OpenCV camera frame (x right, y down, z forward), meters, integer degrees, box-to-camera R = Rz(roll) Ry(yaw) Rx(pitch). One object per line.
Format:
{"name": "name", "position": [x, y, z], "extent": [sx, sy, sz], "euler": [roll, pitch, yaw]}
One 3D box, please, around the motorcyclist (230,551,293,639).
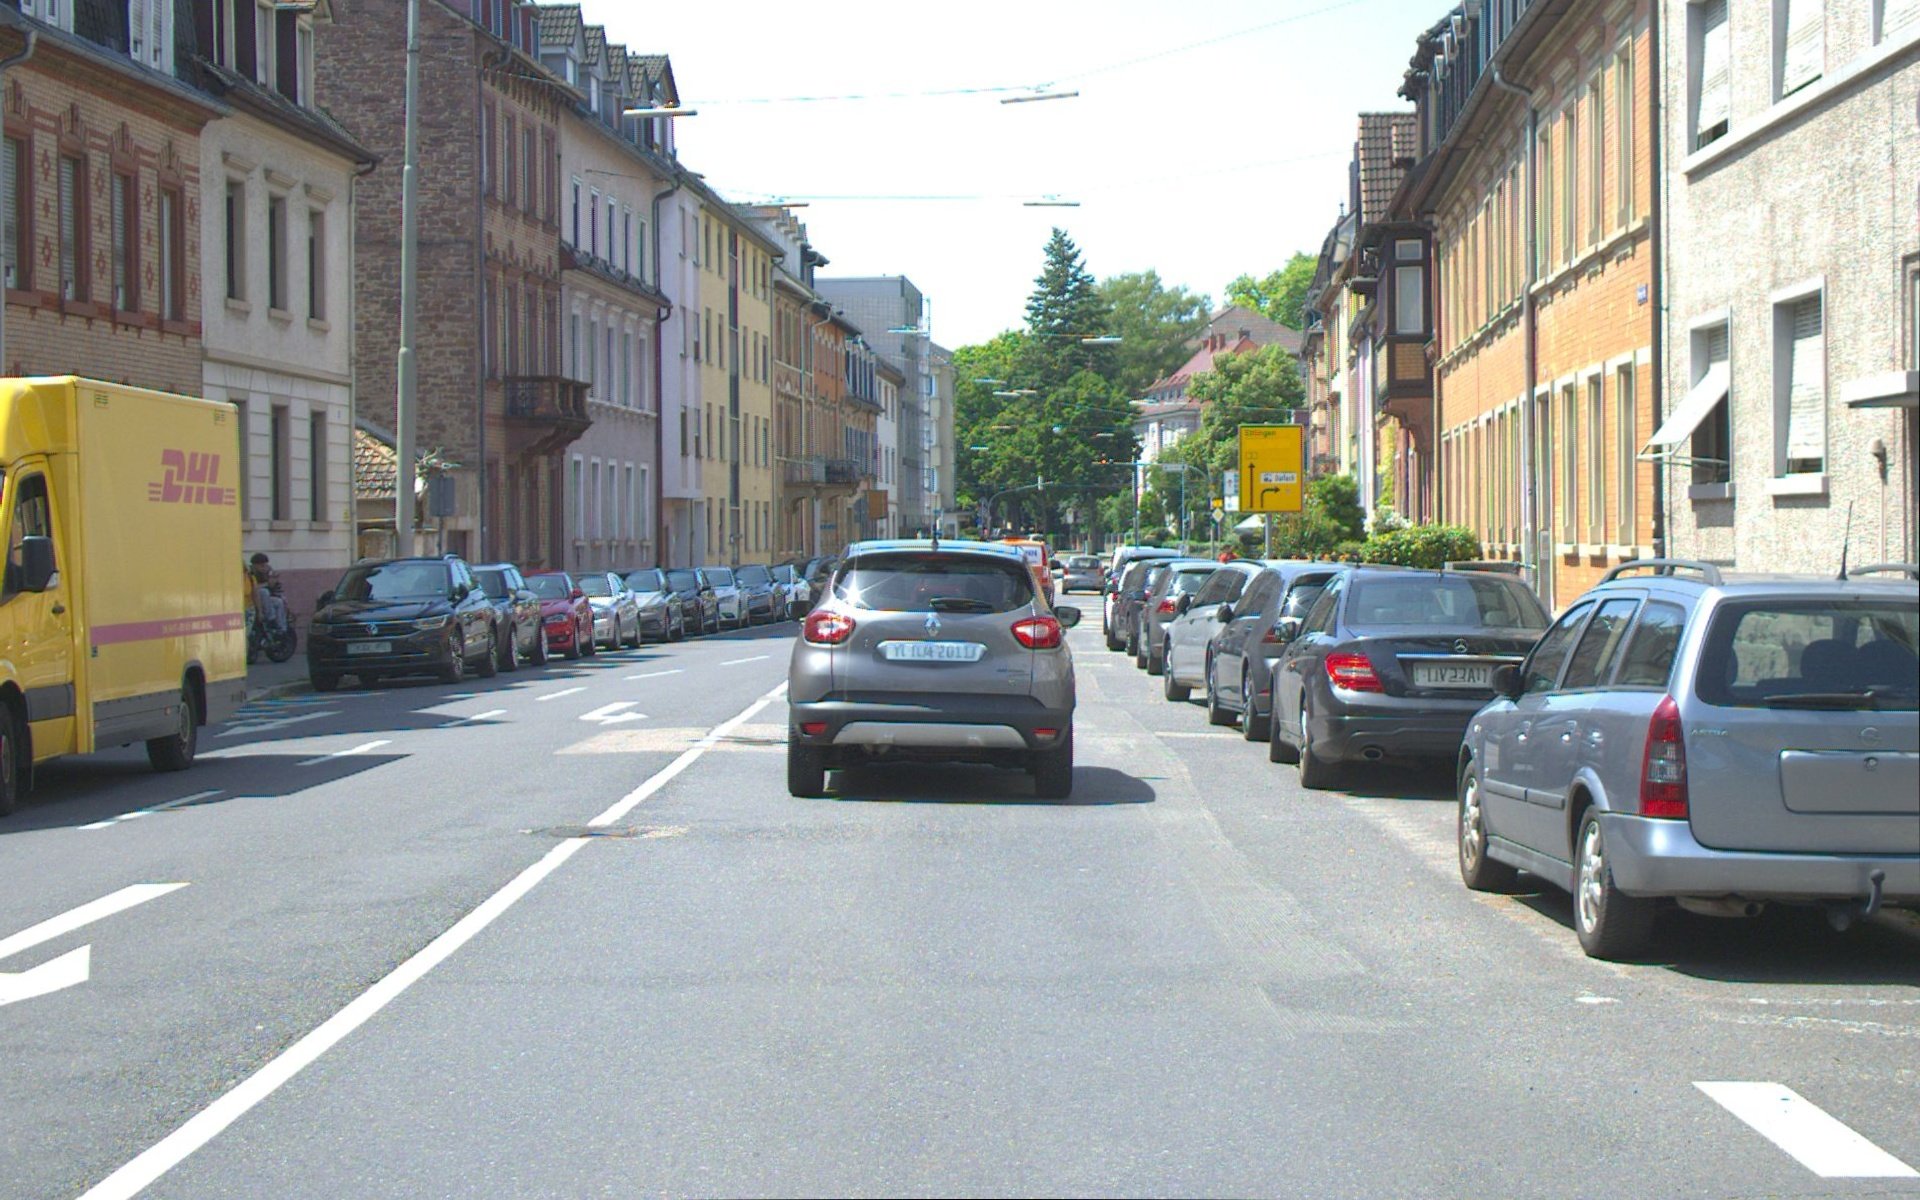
{"name": "motorcyclist", "position": [-9.977, -0.074, 49.115], "extent": [0.718, 1.244, 0.712], "euler": [-1, 1, 2]}

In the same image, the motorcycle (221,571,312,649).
{"name": "motorcycle", "position": [-10.001, 0.139, 49.636], "extent": [0.845, 1.075, 1.871], "euler": [-1, 1, 2]}

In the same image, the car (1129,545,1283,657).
{"name": "car", "position": [3.140, -0.019, 44.556], "extent": [1.700, 1.376, 4.167], "euler": [0, 1, 0]}

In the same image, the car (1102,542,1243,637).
{"name": "car", "position": [3.251, -0.184, 53.252], "extent": [1.648, 1.409, 4.502], "euler": [0, 1, -3]}

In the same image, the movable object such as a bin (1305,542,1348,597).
{"name": "movable object such as a bin", "position": [7.394, -0.620, 69.421], "extent": [0.788, 1.085, 0.554], "euler": [-1, 1, 0]}

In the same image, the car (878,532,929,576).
{"name": "car", "position": [-2.212, -1.820, 134.796], "extent": [1.904, 1.614, 4.303], "euler": [-2, 1, -1]}

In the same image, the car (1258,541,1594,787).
{"name": "car", "position": [3.019, 0.349, 23.071], "extent": [1.711, 1.468, 4.438], "euler": [-1, 1, 1]}

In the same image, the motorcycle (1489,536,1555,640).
{"name": "motorcycle", "position": [6.711, -0.154, 41.094], "extent": [0.596, 1.220, 1.361], "euler": [0, 1, 2]}

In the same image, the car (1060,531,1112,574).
{"name": "car", "position": [4.727, -1.791, 128.607], "extent": [1.764, 1.554, 3.942], "euler": [-1, 1, 4]}

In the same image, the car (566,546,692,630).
{"name": "car", "position": [-6.404, -0.254, 66.968], "extent": [1.840, 1.417, 4.502], "euler": [-5, 1, 1]}

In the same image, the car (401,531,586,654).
{"name": "car", "position": [-6.727, -0.135, 50.044], "extent": [1.840, 1.591, 4.502], "euler": [-4, 1, 2]}

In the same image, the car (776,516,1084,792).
{"name": "car", "position": [-0.281, 0.276, 22.218], "extent": [1.743, 1.611, 4.001], "euler": [0, 1, -4]}

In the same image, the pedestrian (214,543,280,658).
{"name": "pedestrian", "position": [-9.448, -0.001, 45.553], "extent": [0.608, 1.490, 0.971], "euler": [1, 1, 3]}

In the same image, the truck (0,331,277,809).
{"name": "truck", "position": [-6.579, -0.204, 22.997], "extent": [2.225, 2.761, 7.564], "euler": [-2, 1, 2]}

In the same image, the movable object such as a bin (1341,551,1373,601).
{"name": "movable object such as a bin", "position": [8.512, -0.517, 73.715], "extent": [0.659, 1.051, 0.748], "euler": [0, 1, 4]}

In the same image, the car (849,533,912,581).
{"name": "car", "position": [-2.829, -1.565, 123.128], "extent": [1.905, 1.614, 4.302], "euler": [-2, 1, 3]}

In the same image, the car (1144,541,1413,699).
{"name": "car", "position": [3.076, 0.153, 34.093], "extent": [1.853, 1.458, 4.551], "euler": [0, 1, -5]}

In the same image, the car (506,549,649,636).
{"name": "car", "position": [-6.749, -0.156, 61.113], "extent": [1.840, 1.417, 4.502], "euler": [-2, 1, 2]}

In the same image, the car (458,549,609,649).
{"name": "car", "position": [-6.748, -0.046, 54.814], "extent": [1.839, 1.417, 4.503], "euler": [-3, 1, -1]}

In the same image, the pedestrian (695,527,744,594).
{"name": "pedestrian", "position": [-6.414, -1.054, 91.599], "extent": [1.151, 1.744, 0.969], "euler": [-1, 1, 5]}

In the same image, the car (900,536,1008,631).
{"name": "car", "position": [-0.075, -0.331, 62.602], "extent": [1.812, 1.615, 4.441], "euler": [-2, 1, 1]}

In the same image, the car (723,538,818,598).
{"name": "car", "position": [-4.921, -0.849, 89.757], "extent": [1.840, 1.417, 4.557], "euler": [-3, 1, 4]}

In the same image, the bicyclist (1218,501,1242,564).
{"name": "bicyclist", "position": [6.414, -1.603, 81.724], "extent": [0.532, 1.464, 0.791], "euler": [-1, 1, 4]}

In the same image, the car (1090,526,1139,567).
{"name": "car", "position": [6.022, -2.088, 133.983], "extent": [1.764, 1.554, 3.942], "euler": [-1, 1, 4]}

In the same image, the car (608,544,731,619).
{"name": "car", "position": [-6.119, -0.420, 72.828], "extent": [1.840, 1.417, 4.502], "euler": [-4, 1, 4]}

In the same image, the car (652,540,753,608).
{"name": "car", "position": [-5.805, -0.609, 78.074], "extent": [1.840, 1.417, 4.502], "euler": [-3, 1, 1]}

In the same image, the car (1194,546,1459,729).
{"name": "car", "position": [3.014, 0.262, 28.974], "extent": [1.651, 1.415, 4.049], "euler": [0, 1, -2]}

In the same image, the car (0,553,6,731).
{"name": "car", "position": [-8.924, 0.352, 26.463], "extent": [1.840, 1.483, 4.386], "euler": [2, 1, 1]}

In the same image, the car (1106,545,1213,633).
{"name": "car", "position": [3.382, -0.219, 58.583], "extent": [1.716, 1.409, 4.589], "euler": [-1, 1, 3]}

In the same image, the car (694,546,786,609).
{"name": "car", "position": [-5.337, -0.556, 83.992], "extent": [1.840, 1.417, 4.646], "euler": [-3, 1, 1]}

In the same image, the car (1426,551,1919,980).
{"name": "car", "position": [3.088, 0.552, 14.008], "extent": [1.677, 1.449, 4.143], "euler": [1, 1, -2]}

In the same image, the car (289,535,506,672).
{"name": "car", "position": [-7.129, 0.011, 44.032], "extent": [1.840, 1.591, 4.502], "euler": [-2, 1, 2]}

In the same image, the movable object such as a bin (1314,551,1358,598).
{"name": "movable object such as a bin", "position": [7.407, -0.503, 67.746], "extent": [0.788, 0.904, 0.539], "euler": [-1, 1, 0]}

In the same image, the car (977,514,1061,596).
{"name": "car", "position": [1.533, -1.162, 87.547], "extent": [1.994, 2.007, 4.466], "euler": [-1, 1, 3]}
